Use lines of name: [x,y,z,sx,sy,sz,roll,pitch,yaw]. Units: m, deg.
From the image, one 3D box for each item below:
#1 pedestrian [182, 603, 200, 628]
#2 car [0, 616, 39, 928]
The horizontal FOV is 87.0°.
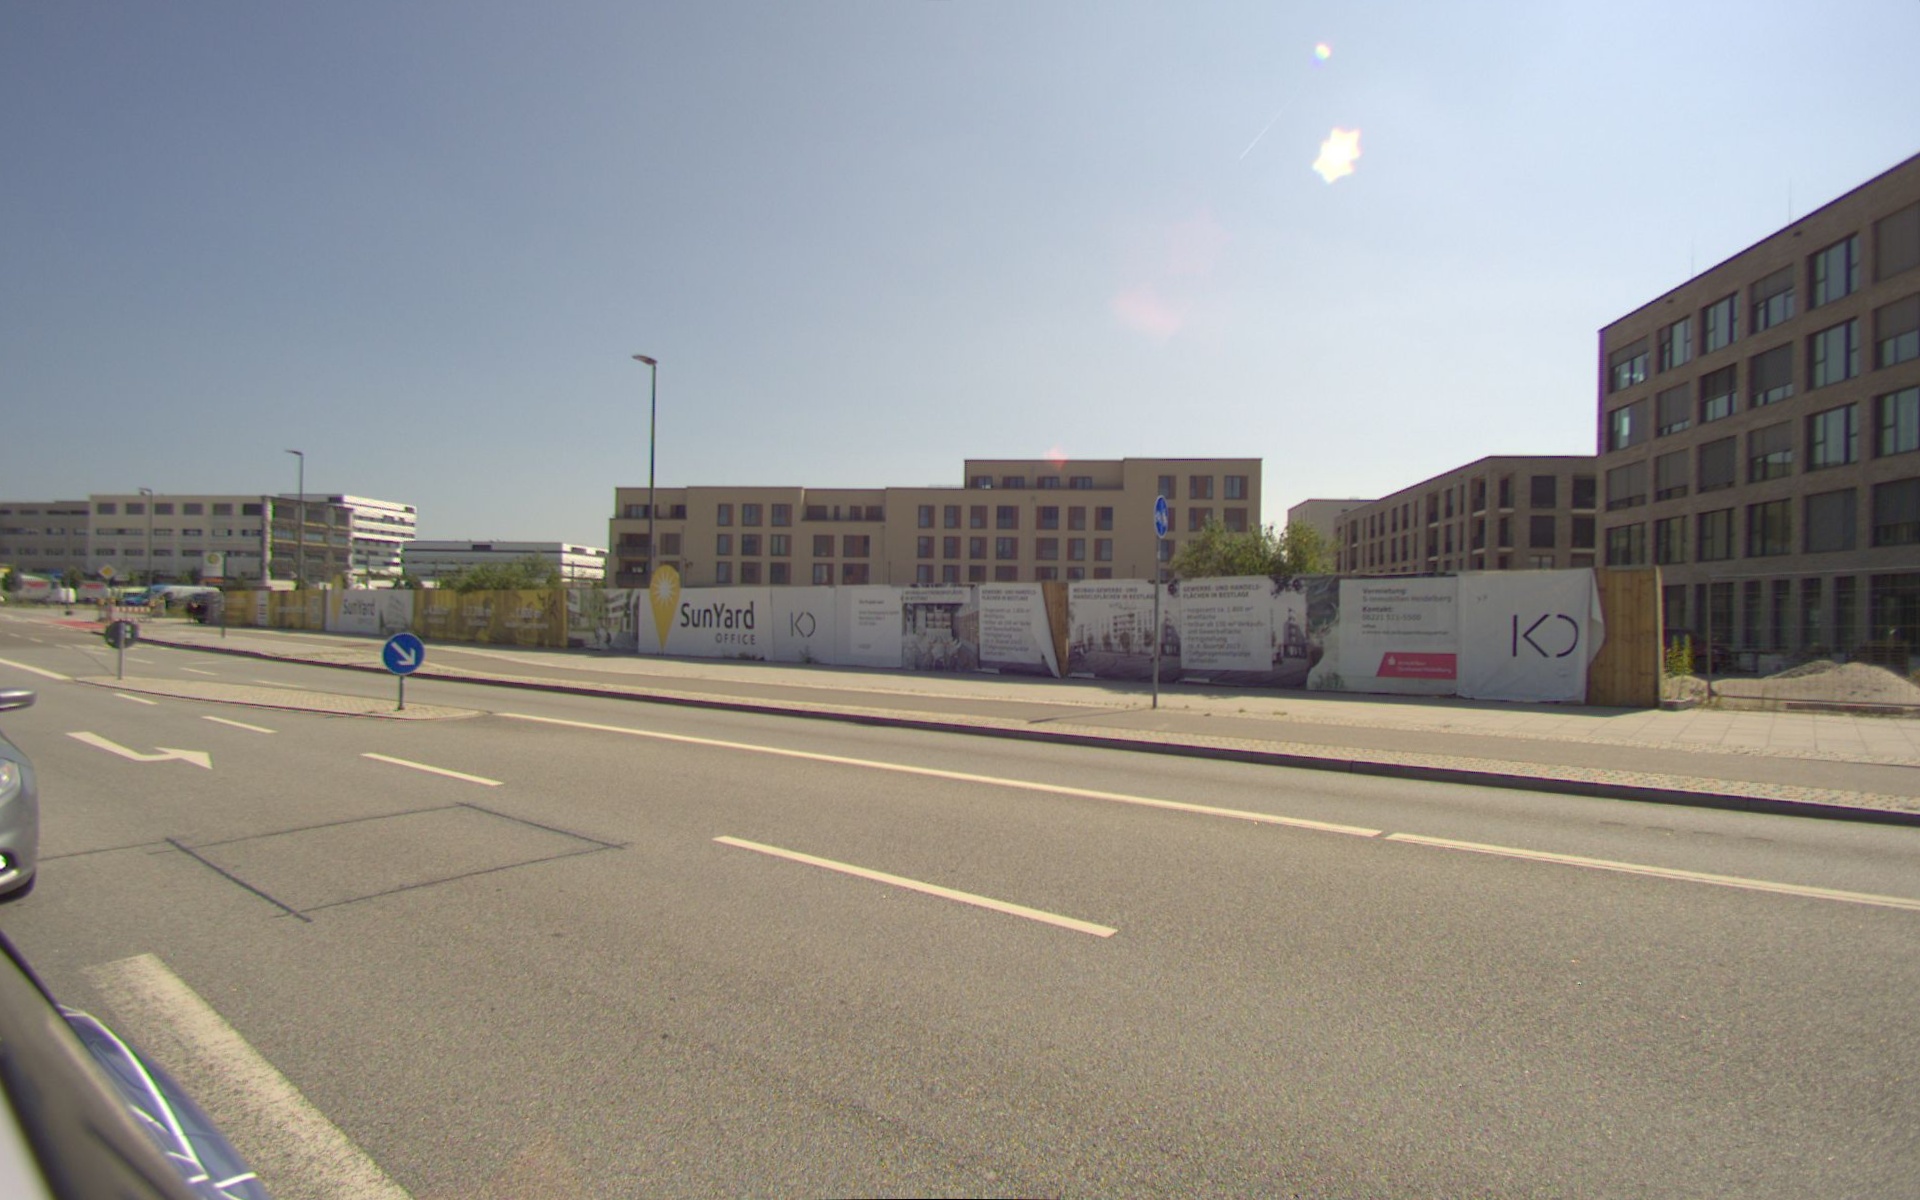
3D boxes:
pedestrian: [-49.019,0.976,64.539,0.610,1.598,0.703,-1,0,5]
car: [-6.338,0.797,5.321,4.134,1.390,1.762,-1,0,41]
